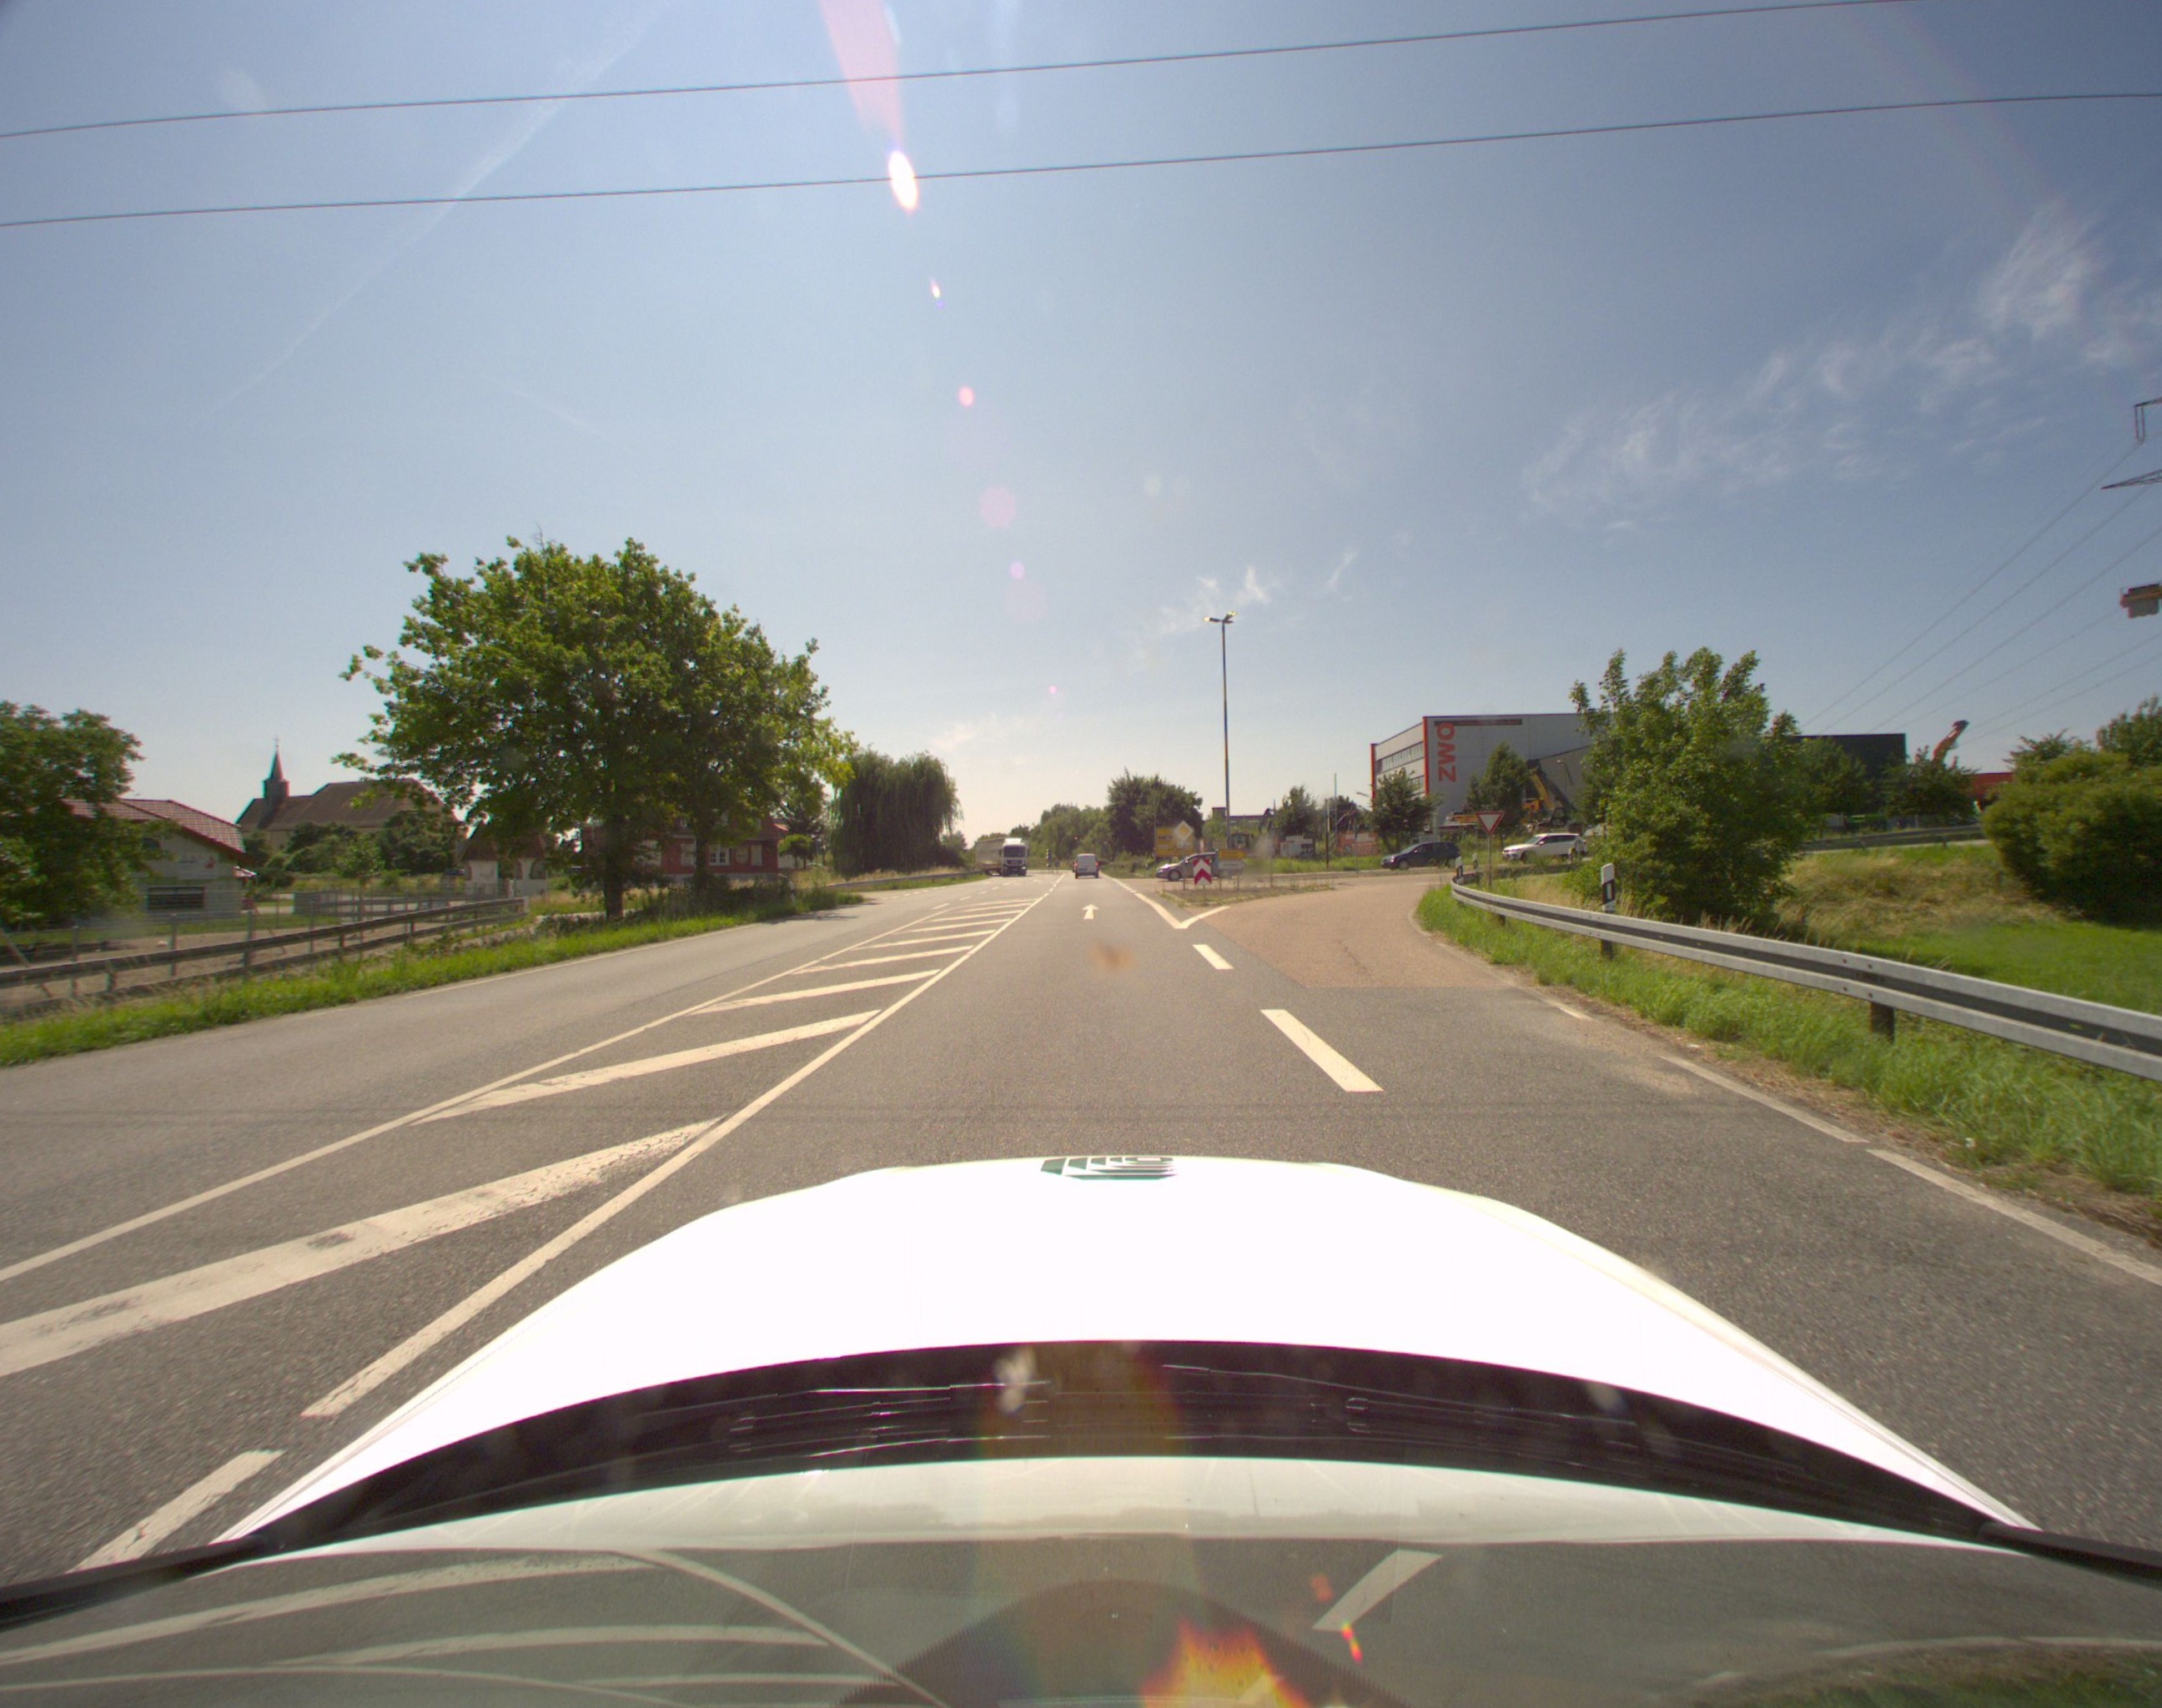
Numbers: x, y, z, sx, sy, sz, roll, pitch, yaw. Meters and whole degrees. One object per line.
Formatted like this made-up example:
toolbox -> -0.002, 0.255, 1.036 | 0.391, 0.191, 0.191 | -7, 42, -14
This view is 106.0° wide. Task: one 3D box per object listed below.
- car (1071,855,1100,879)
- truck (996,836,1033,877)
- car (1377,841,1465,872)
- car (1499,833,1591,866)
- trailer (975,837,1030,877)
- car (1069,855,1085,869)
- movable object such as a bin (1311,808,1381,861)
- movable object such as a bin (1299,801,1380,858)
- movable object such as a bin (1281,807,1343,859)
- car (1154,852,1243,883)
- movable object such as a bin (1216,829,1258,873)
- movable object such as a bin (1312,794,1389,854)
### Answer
car -> 0.290, 0.970, 60.400 | 1.899, 1.732, 3.817 | -1, -1, -3
truck -> -6.962, 0.294, 84.386 | 2.793, 4.056, 6.722 | 0, 0, -14
car -> 18.135, 0.145, 43.503 | 3.983, 1.440, 1.636 | -2, 0, 2
car -> 25.558, -0.259, 44.941 | 4.068, 1.621, 1.760 | -3, 1, 2
trailer -> -8.909, 0.328, 90.351 | 2.799, 4.056, 13.410 | 0, 0, -20
car -> -0.469, 0.895, 97.125 | 1.799, 1.556, 4.000 | -1, 1, 0
movable object such as a bin -> 22.229, -1.575, 68.460 | 5.064, 4.276, 2.836 | 0, -2, 3
movable object such as a bin -> 24.394, -2.263, 77.091 | 6.564, 5.148, 3.808 | 0, -2, 3
movable object such as a bin -> 24.322, -2.216, 86.052 | 5.693, 5.270, 3.223 | 0, -2, 3
car -> 6.304, 0.714, 44.029 | 4.496, 1.508, 1.914 | -2, 0, 0
movable object such as a bin -> 12.230, -0.180, 64.246 | 2.315, 3.250, 5.100 | 0, -2, 0
movable object such as a bin -> 24.144, -2.656, 73.201 | 5.894, 5.106, 3.110 | 0, -2, 3
